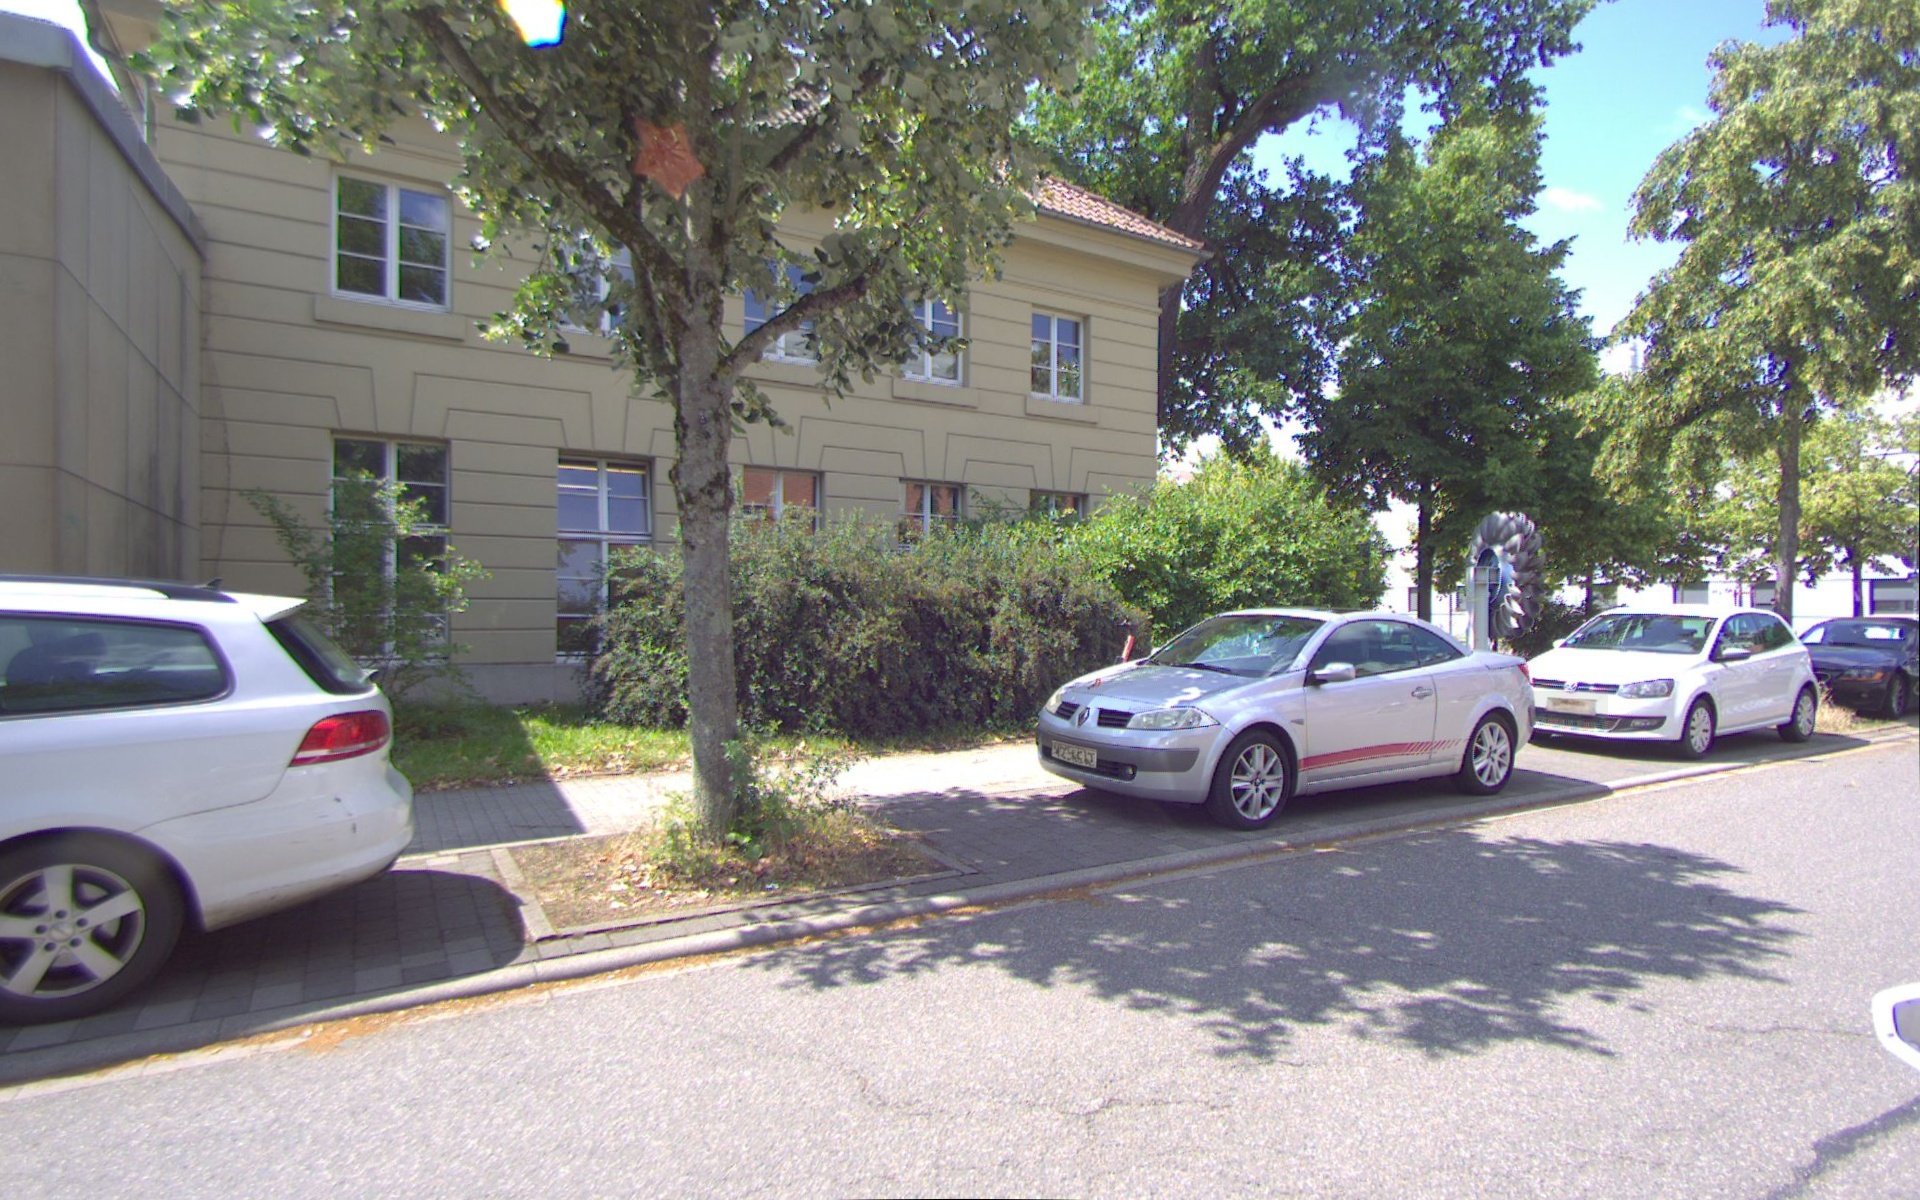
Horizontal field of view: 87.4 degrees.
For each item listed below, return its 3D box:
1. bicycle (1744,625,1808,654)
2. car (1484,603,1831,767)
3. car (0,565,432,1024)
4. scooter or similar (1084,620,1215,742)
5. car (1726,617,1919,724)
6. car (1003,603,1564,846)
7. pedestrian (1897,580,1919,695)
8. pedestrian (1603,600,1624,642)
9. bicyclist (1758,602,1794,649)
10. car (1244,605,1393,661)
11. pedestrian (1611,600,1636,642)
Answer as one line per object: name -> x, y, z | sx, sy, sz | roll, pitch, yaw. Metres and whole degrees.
bicycle -> 31.610, 1.513, 38.951 | 0.795, 1.015, 2.124 | 1, 0, 3
car -> 7.462, 0.778, 10.676 | 3.764, 1.431, 1.653 | 0, 1, -32
car -> -4.413, 0.595, 3.387 | 4.534, 1.476, 1.715 | 1, 1, -33
scooter or similar -> 1.917, 0.805, 10.197 | 1.206, 1.187, 0.470 | 1, 0, -11
car -> 12.698, 0.907, 14.185 | 3.881, 1.318, 1.637 | 1, -1, -30
car -> 2.524, 0.744, 7.612 | 4.115, 1.362, 1.717 | 1, 1, -30
pedestrian -> 16.750, 0.641, 16.956 | 0.998, 1.929, 1.178 | 1, 0, 23
pedestrian -> 28.194, 0.921, 43.323 | 0.579, 1.788, 0.549 | 1, 0, -30
bicyclist -> 31.617, 0.997, 38.906 | 0.795, 1.779, 0.693 | 1, 0, 3
car -> 10.893, 0.986, 30.464 | 4.391, 1.536, 1.918 | 0, -3, -32
pedestrian -> 28.865, 0.913, 43.725 | 0.629, 1.772, 0.690 | 1, 0, -30
